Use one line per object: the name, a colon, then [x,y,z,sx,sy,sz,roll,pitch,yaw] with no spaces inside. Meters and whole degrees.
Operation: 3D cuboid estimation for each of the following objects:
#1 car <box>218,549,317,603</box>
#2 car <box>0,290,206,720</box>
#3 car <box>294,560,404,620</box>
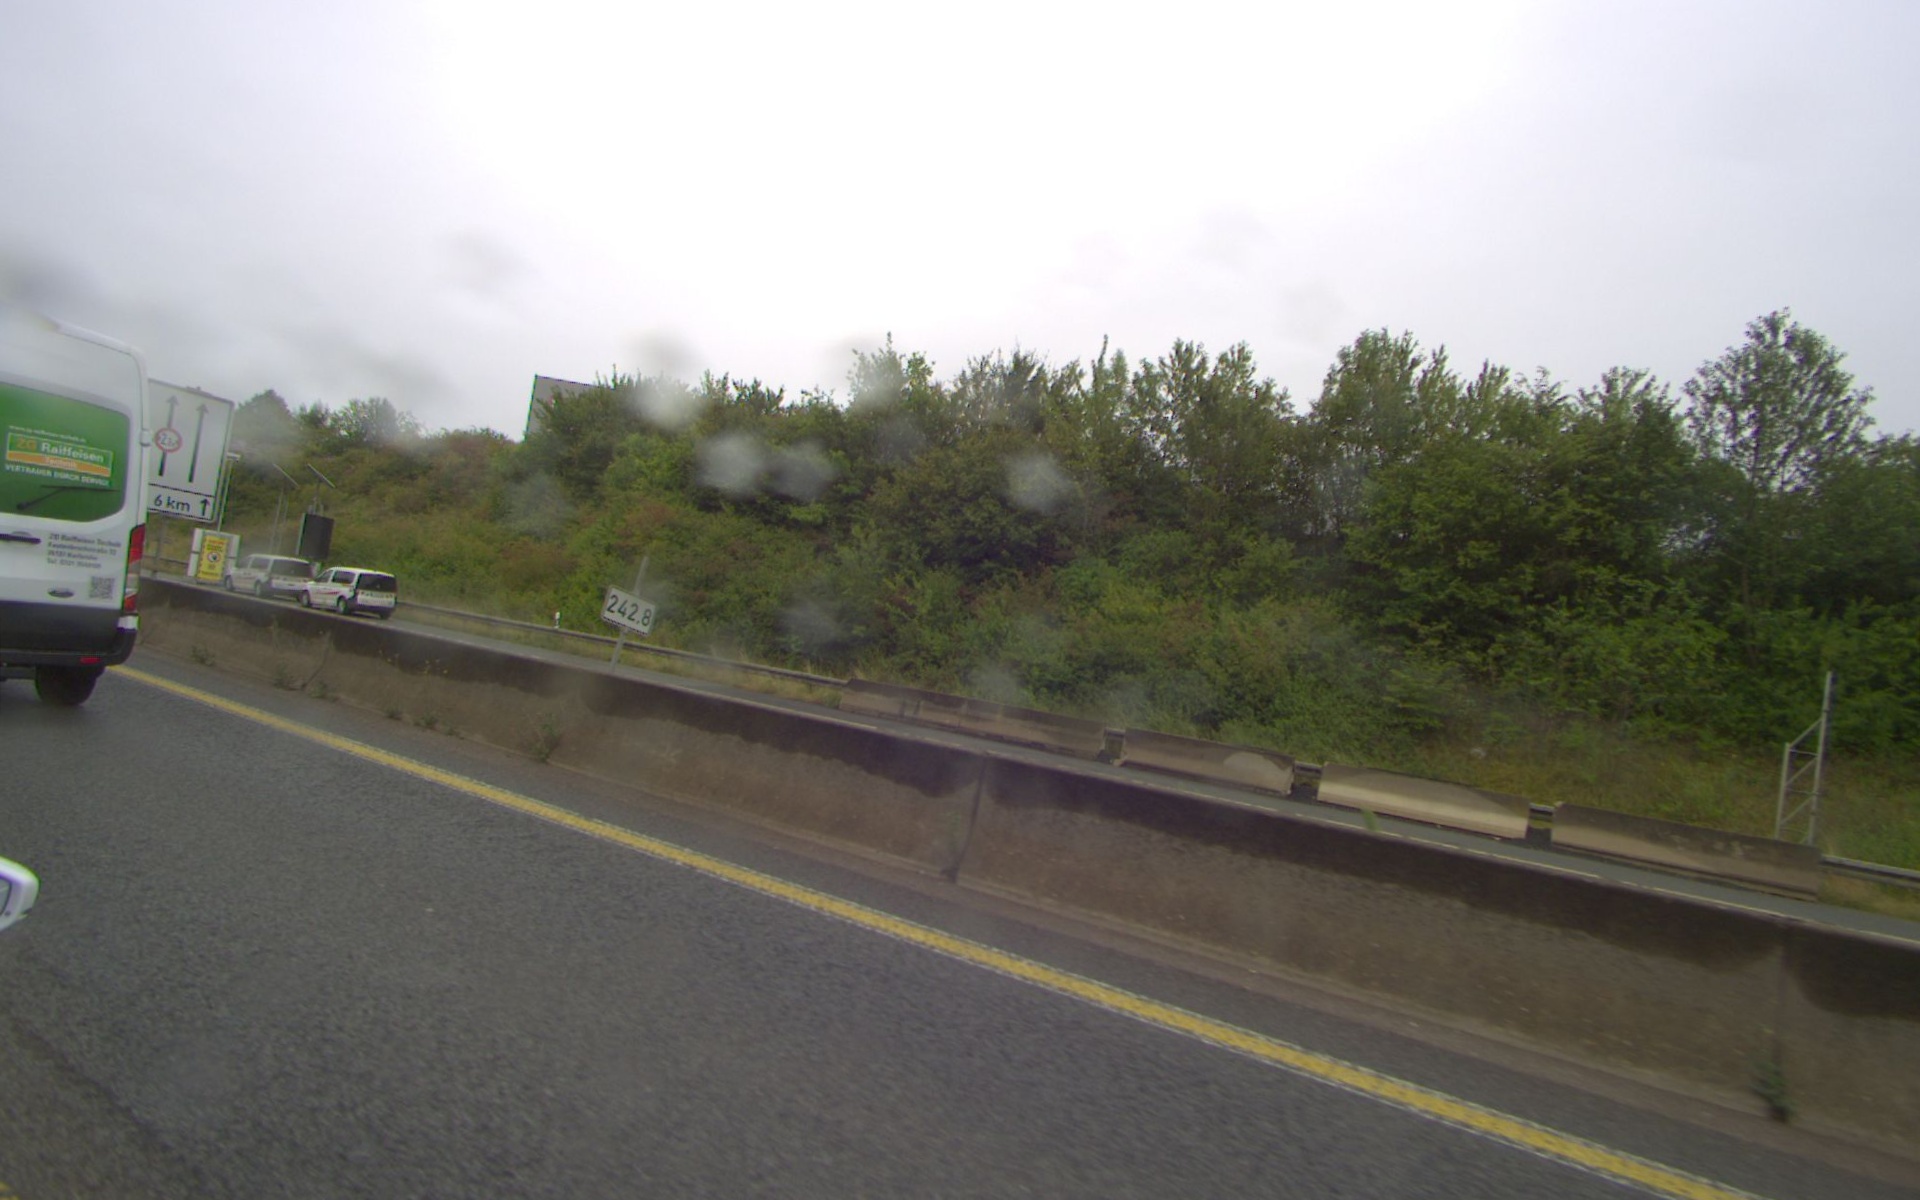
car: [-29.644,-1.035,43.014,4.196,1.778,1.733,6,-2,30]
car: [-8.677,-0.863,7.963,6.017,2.707,2.148,6,-2,33]
car: [-24.017,-0.395,39.539,4.257,1.790,1.733,6,-2,30]
